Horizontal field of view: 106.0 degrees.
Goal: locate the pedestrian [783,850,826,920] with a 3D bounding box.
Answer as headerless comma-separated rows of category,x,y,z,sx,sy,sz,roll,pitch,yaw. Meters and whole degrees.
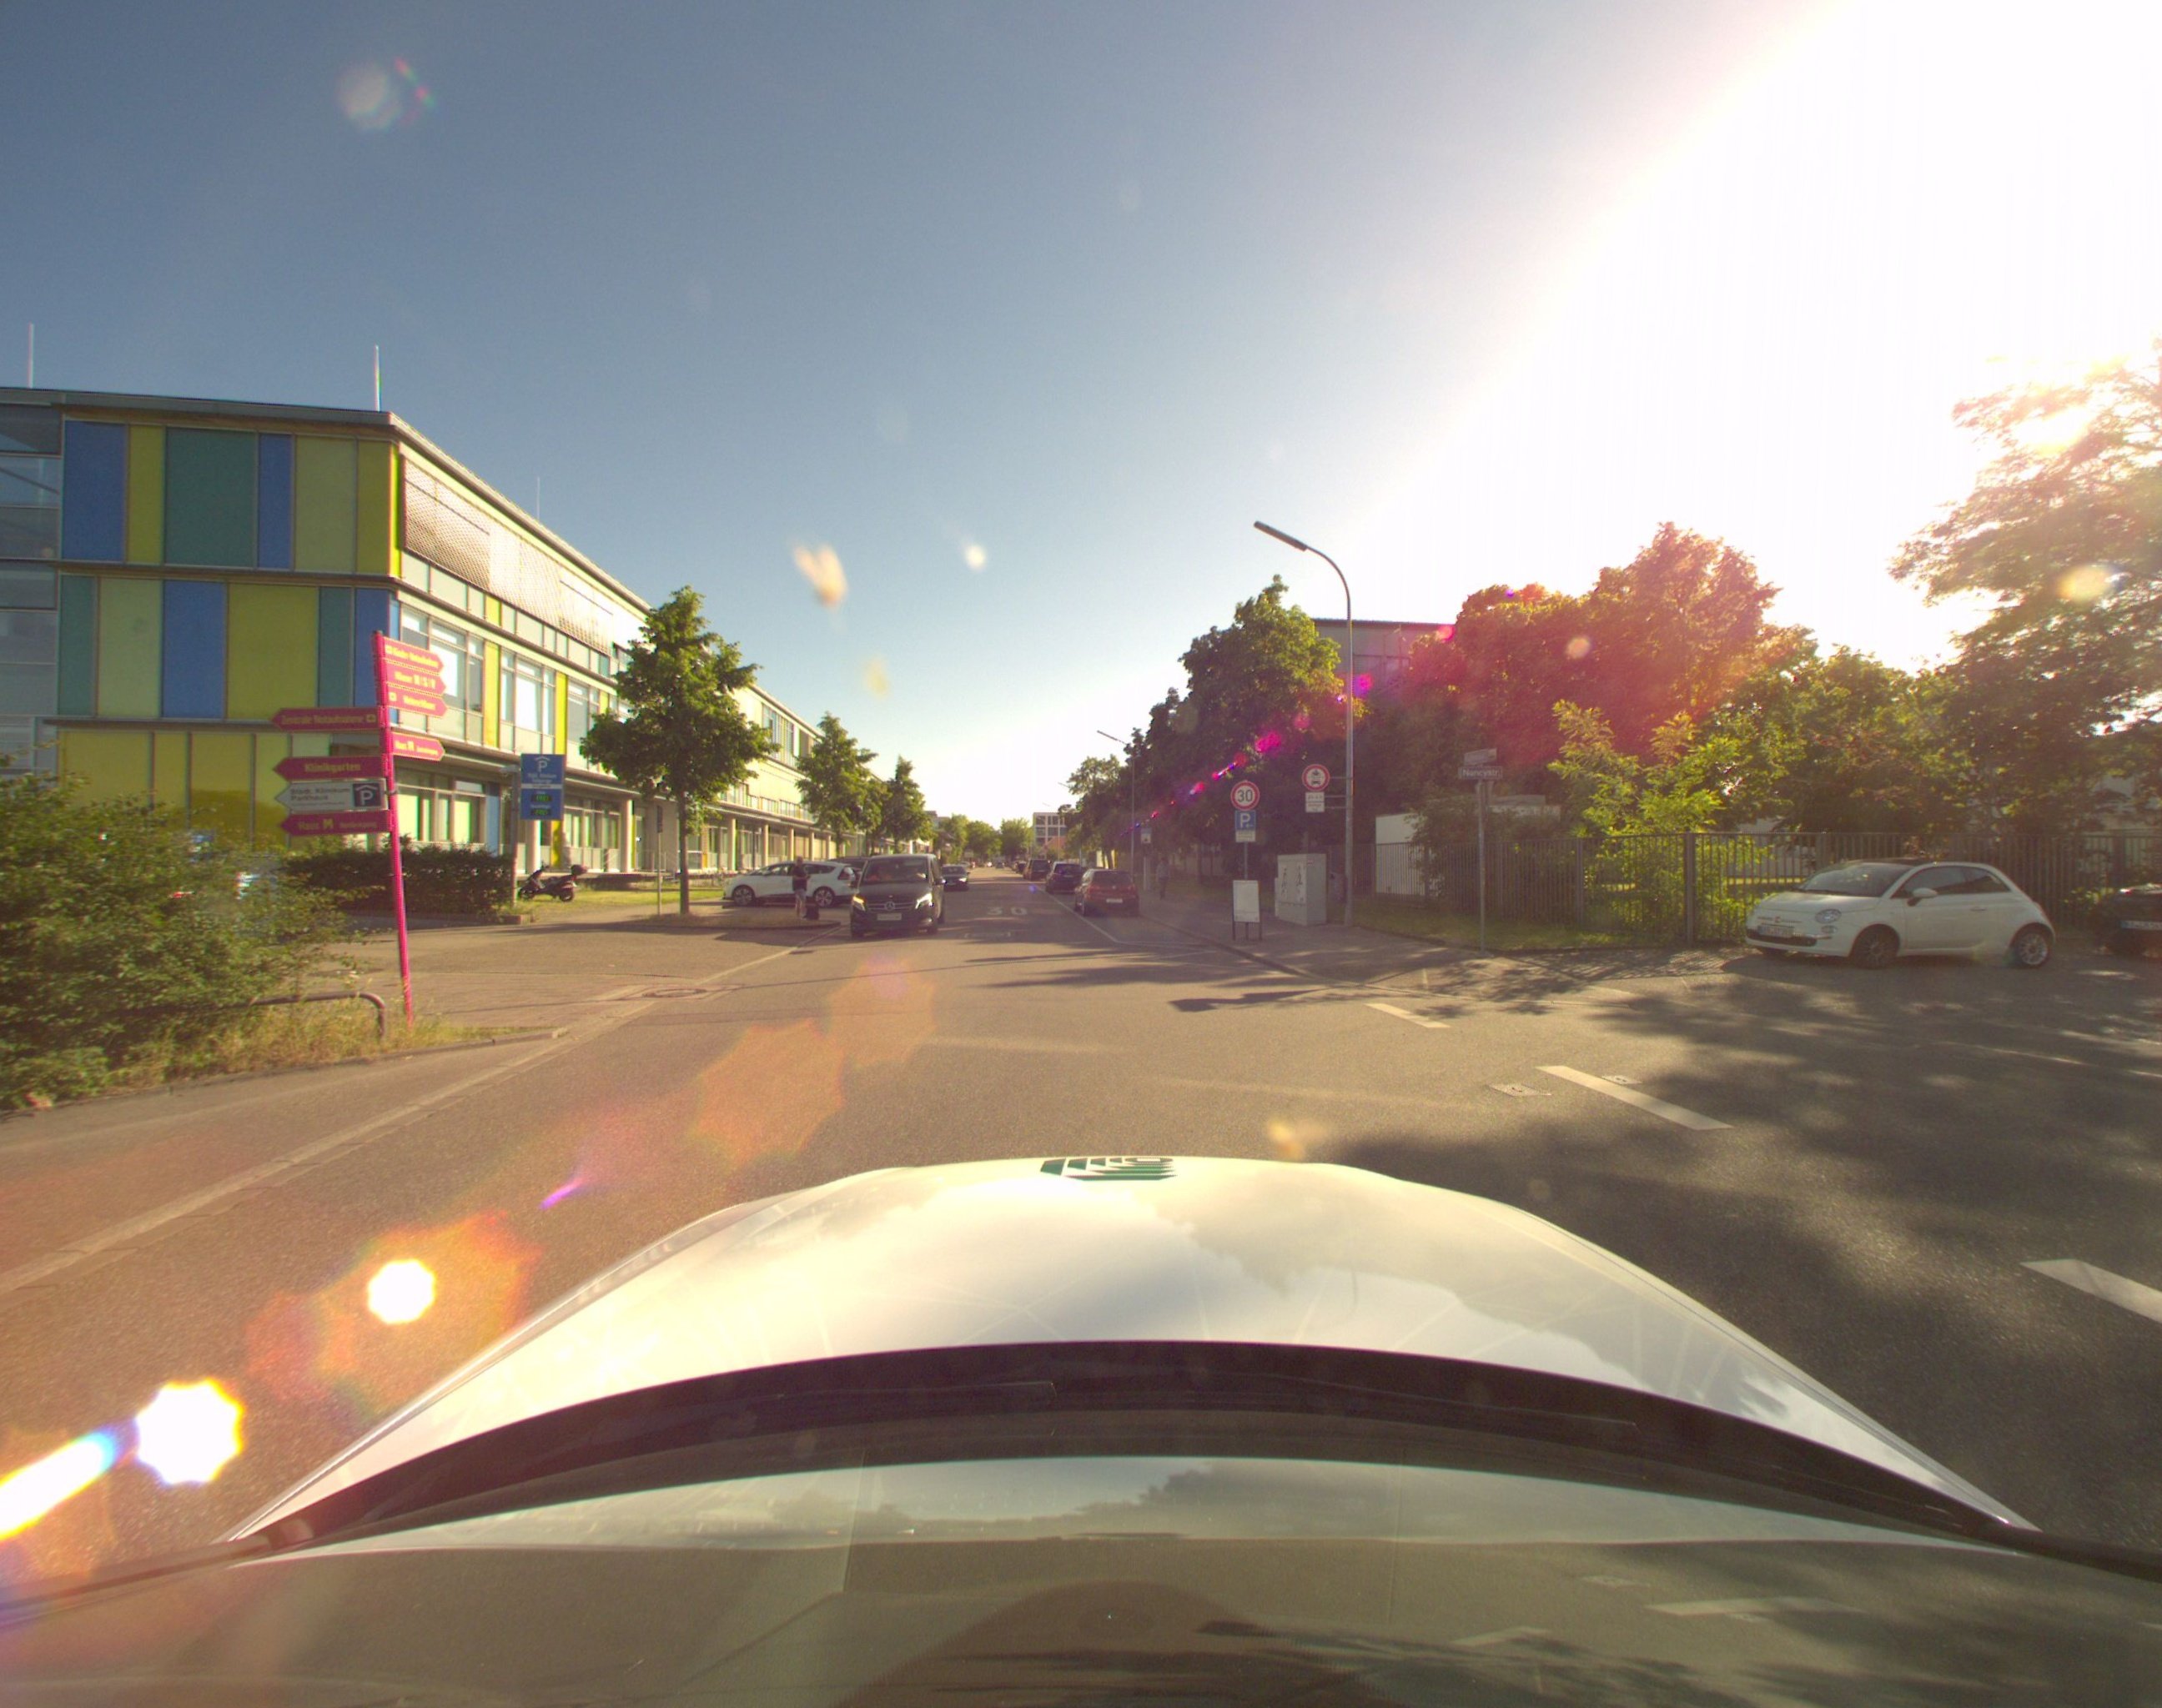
pedestrian,-7.550,0.835,22.274,0.856,1.842,0.824,2,-1,-5

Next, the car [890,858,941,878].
car,-14.190,1.217,70.191,4.214,1.603,1.865,2,-1,-10

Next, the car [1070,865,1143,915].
car,0.750,1.128,26.801,1.718,1.455,4.641,1,-1,-7

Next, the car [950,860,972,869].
car,-22.528,2.004,153.205,3.982,1.519,1.996,0,-2,-6

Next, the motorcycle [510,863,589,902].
motorcycle,-16.867,0.898,25.875,2.042,1.149,0.498,3,0,-9

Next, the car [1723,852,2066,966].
car,11.499,0.726,11.647,3.541,1.486,1.597,0,-1,-6

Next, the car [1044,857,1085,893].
car,-0.917,1.059,42.720,1.809,1.666,4.584,1,0,-5

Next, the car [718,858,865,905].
car,-10.365,0.977,29.403,4.601,1.651,1.865,0,-1,-3

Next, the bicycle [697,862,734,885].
bicycle,-18.894,1.017,42.170,0.865,1.153,1.994,2,-1,4

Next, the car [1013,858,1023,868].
car,-9.952,1.399,128.092,1.434,1.560,3.035,0,0,-6

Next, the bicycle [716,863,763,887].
bicycle,-17.470,1.076,41.747,0.863,1.153,2.382,1,-1,15

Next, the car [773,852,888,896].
car,-11.481,0.896,37.590,4.736,1.865,1.824,2,-1,-6

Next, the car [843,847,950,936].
car,-4.417,0.830,20.258,1.953,1.867,5.243,-1,0,-6

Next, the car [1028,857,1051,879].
car,-3.482,1.139,67.496,1.730,1.830,3.897,0,-1,-6

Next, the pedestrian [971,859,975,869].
pedestrian,-19.082,1.750,144.253,0.618,1.624,0.714,-1,-1,-6

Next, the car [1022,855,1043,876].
car,-4.804,1.104,79.888,1.872,1.978,3.991,-1,0,-6

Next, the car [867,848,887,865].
car,-27.007,0.351,107.661,1.991,2.014,3.991,0,-2,-6

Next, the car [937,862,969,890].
car,-7.336,1.233,46.704,1.703,1.451,4.073,-1,0,-9

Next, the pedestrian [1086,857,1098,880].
pedestrian,0.835,1.077,61.051,0.697,1.661,0.750,-3,0,-7

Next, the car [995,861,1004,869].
car,-15.958,2.215,159.775,1.741,1.543,3.991,1,-1,-6

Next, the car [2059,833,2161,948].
car,17.460,0.515,11.961,4.140,1.637,1.755,0,-1,-1

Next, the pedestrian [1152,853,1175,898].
pedestrian,3.355,0.865,33.220,0.716,1.758,0.883,-2,0,-6

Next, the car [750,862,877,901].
car,-10.423,1.067,32.048,4.428,1.501,1.823,0,-1,-6
